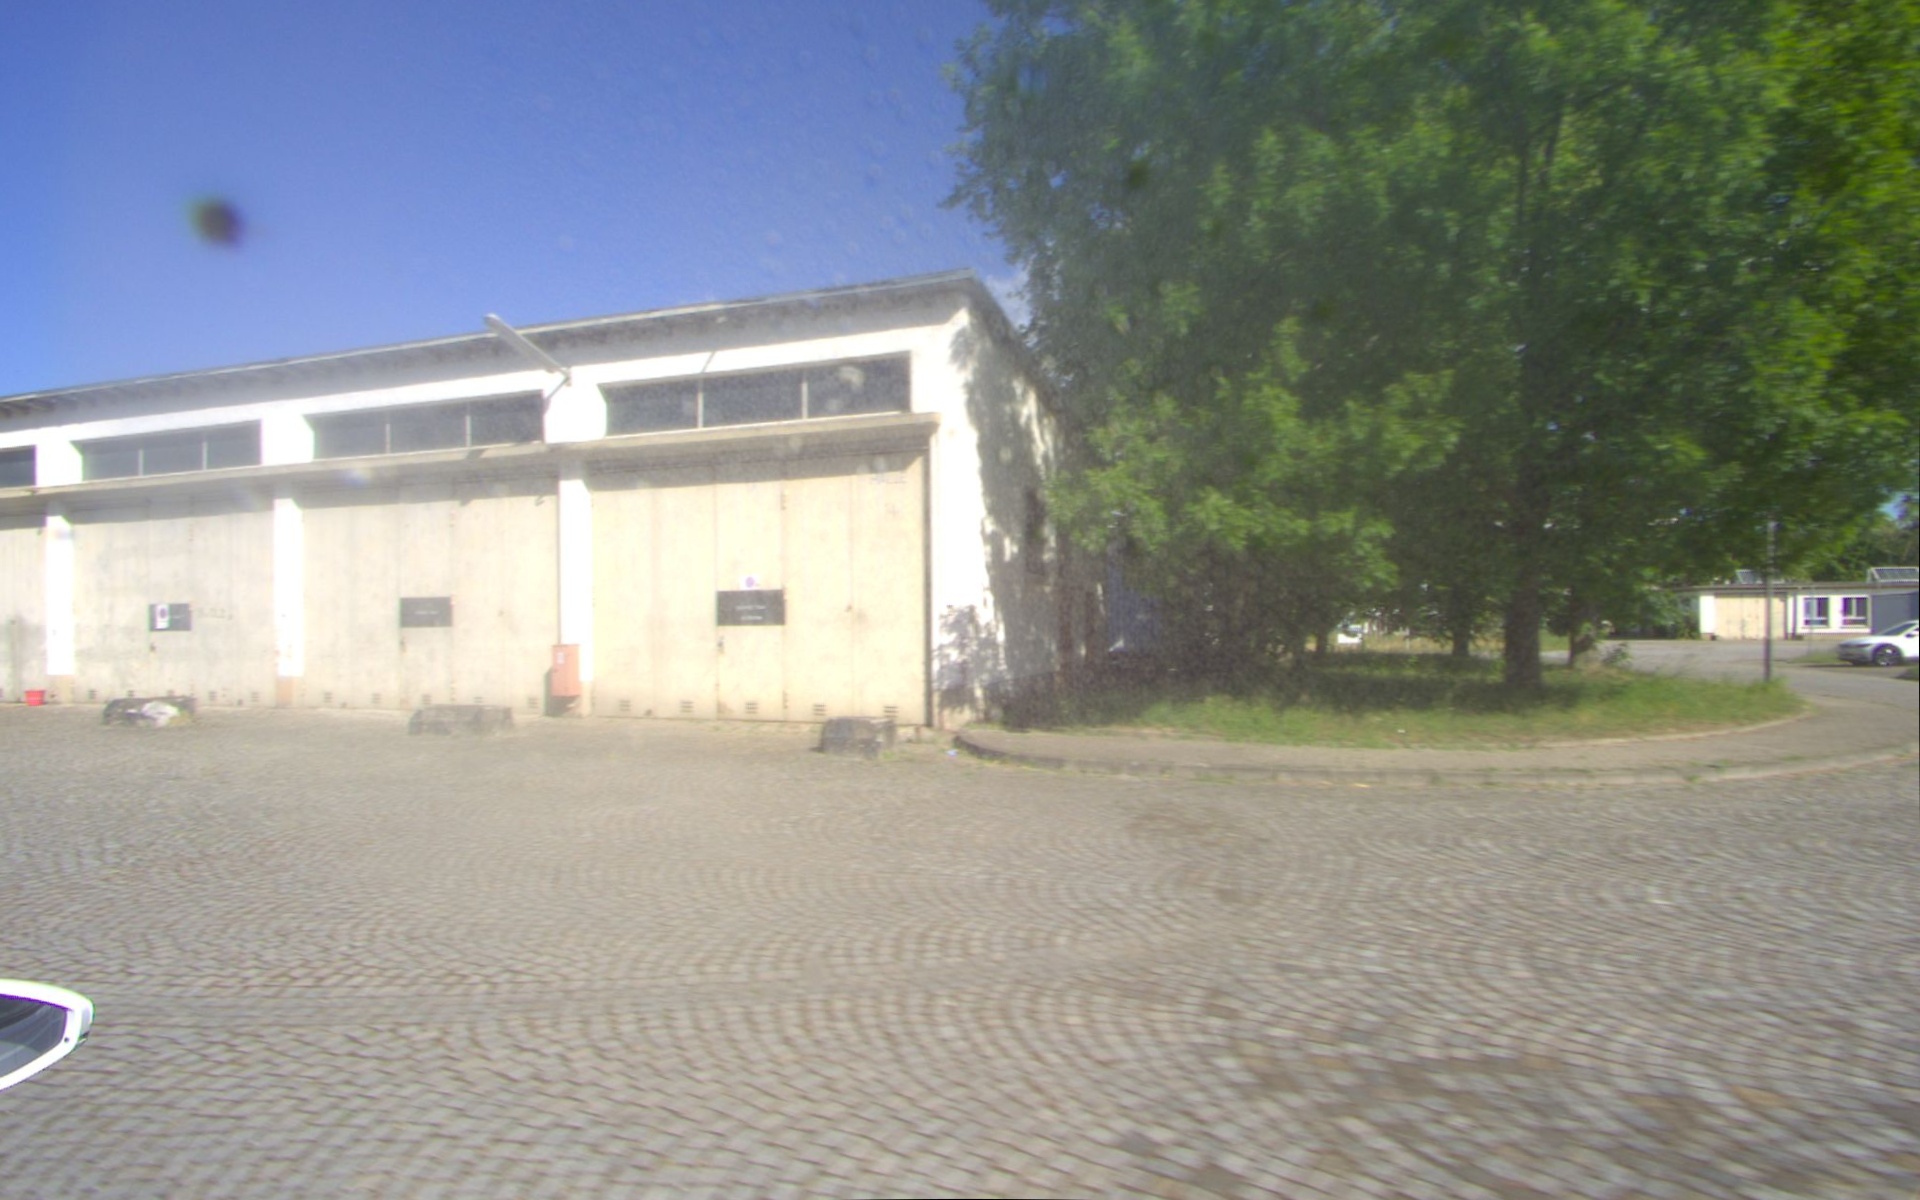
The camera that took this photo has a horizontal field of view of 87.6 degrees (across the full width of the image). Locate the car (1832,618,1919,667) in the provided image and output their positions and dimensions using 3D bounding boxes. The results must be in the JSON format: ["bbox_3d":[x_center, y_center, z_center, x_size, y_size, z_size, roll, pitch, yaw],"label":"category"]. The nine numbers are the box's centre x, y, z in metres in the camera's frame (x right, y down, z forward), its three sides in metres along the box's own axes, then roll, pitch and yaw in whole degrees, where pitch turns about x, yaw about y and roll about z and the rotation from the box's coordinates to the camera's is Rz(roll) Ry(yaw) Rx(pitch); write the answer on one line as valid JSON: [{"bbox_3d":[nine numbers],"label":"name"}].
[{"bbox_3d":[33.487,1.467,34.734,4.438,1.669,1.997,-1,-1,18],"label":"car"}]
